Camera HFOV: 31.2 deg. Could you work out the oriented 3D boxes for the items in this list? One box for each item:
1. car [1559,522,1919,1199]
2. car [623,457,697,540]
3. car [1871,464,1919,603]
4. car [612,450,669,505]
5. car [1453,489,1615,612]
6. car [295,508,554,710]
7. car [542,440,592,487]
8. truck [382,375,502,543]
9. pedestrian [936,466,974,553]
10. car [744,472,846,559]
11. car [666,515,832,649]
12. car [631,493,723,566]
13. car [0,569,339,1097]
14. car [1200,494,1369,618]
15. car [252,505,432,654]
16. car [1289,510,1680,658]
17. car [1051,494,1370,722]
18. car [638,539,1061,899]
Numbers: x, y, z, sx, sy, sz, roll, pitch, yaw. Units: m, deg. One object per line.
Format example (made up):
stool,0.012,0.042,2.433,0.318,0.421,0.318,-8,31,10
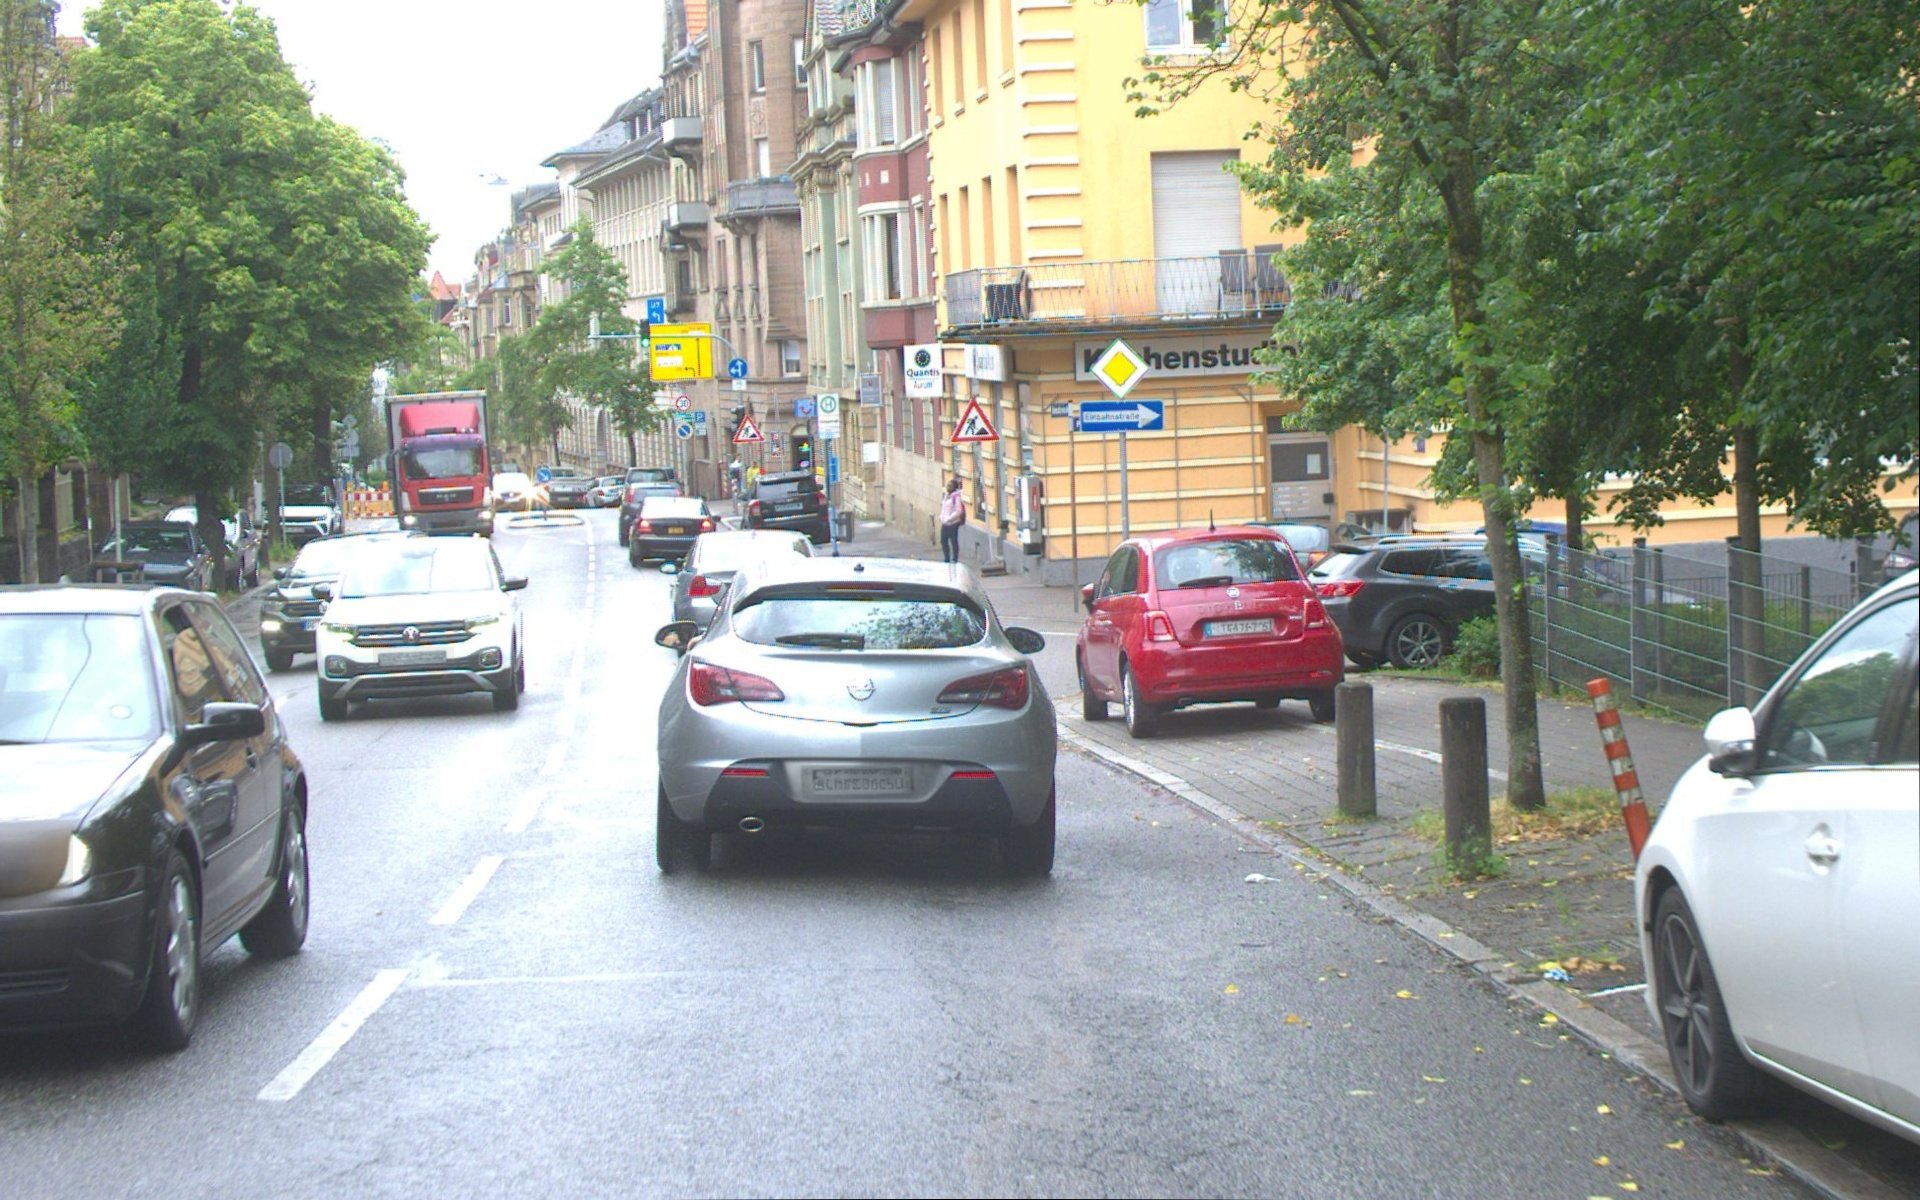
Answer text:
car,2.873,0.512,7.666,1.976,1.447,4.114,-5,1,-4
car,-7.127,-2.428,81.454,1.640,1.683,3.718,-2,5,-6
car,12.966,-0.905,44.853,1.778,1.661,3.782,0,4,20
car,-9.569,-3.644,102.811,1.640,1.531,3.717,-2,1,-6
car,7.642,-0.681,45.508,1.777,1.424,3.784,0,4,15
car,-4.885,0.022,31.847,1.822,1.645,4.001,-3,2,-2
car,-16.520,-5.732,144.505,1.781,1.848,4.001,-1,1,-10
truck,-13.755,-3.894,91.918,2.788,4.117,10.856,-2,4,-7
pedestrian,-0.096,-1.614,61.168,0.613,1.491,0.553,-2,4,-2
car,-3.774,-1.915,77.963,1.993,1.683,4.001,-7,2,-4
car,-2.373,-0.236,38.720,1.776,1.425,3.786,0,1,-3
car,-5.689,-1.433,68.802,1.767,1.410,3.718,0,2,-6
car,-3.188,0.656,11.518,1.660,1.443,3.994,-3,1,-3
car,4.185,-0.590,43.849,1.777,1.424,3.784,0,3,11
car,-7.428,-0.279,41.546,1.622,1.645,3.143,-3,2,-2
car,5.592,-0.165,36.881,3.772,1.425,1.782,2,0,-6
car,1.871,0.035,26.917,1.815,1.462,4.001,-7,1,-3
car,-0.558,0.486,17.059,1.814,1.425,4.001,-2,3,-2
